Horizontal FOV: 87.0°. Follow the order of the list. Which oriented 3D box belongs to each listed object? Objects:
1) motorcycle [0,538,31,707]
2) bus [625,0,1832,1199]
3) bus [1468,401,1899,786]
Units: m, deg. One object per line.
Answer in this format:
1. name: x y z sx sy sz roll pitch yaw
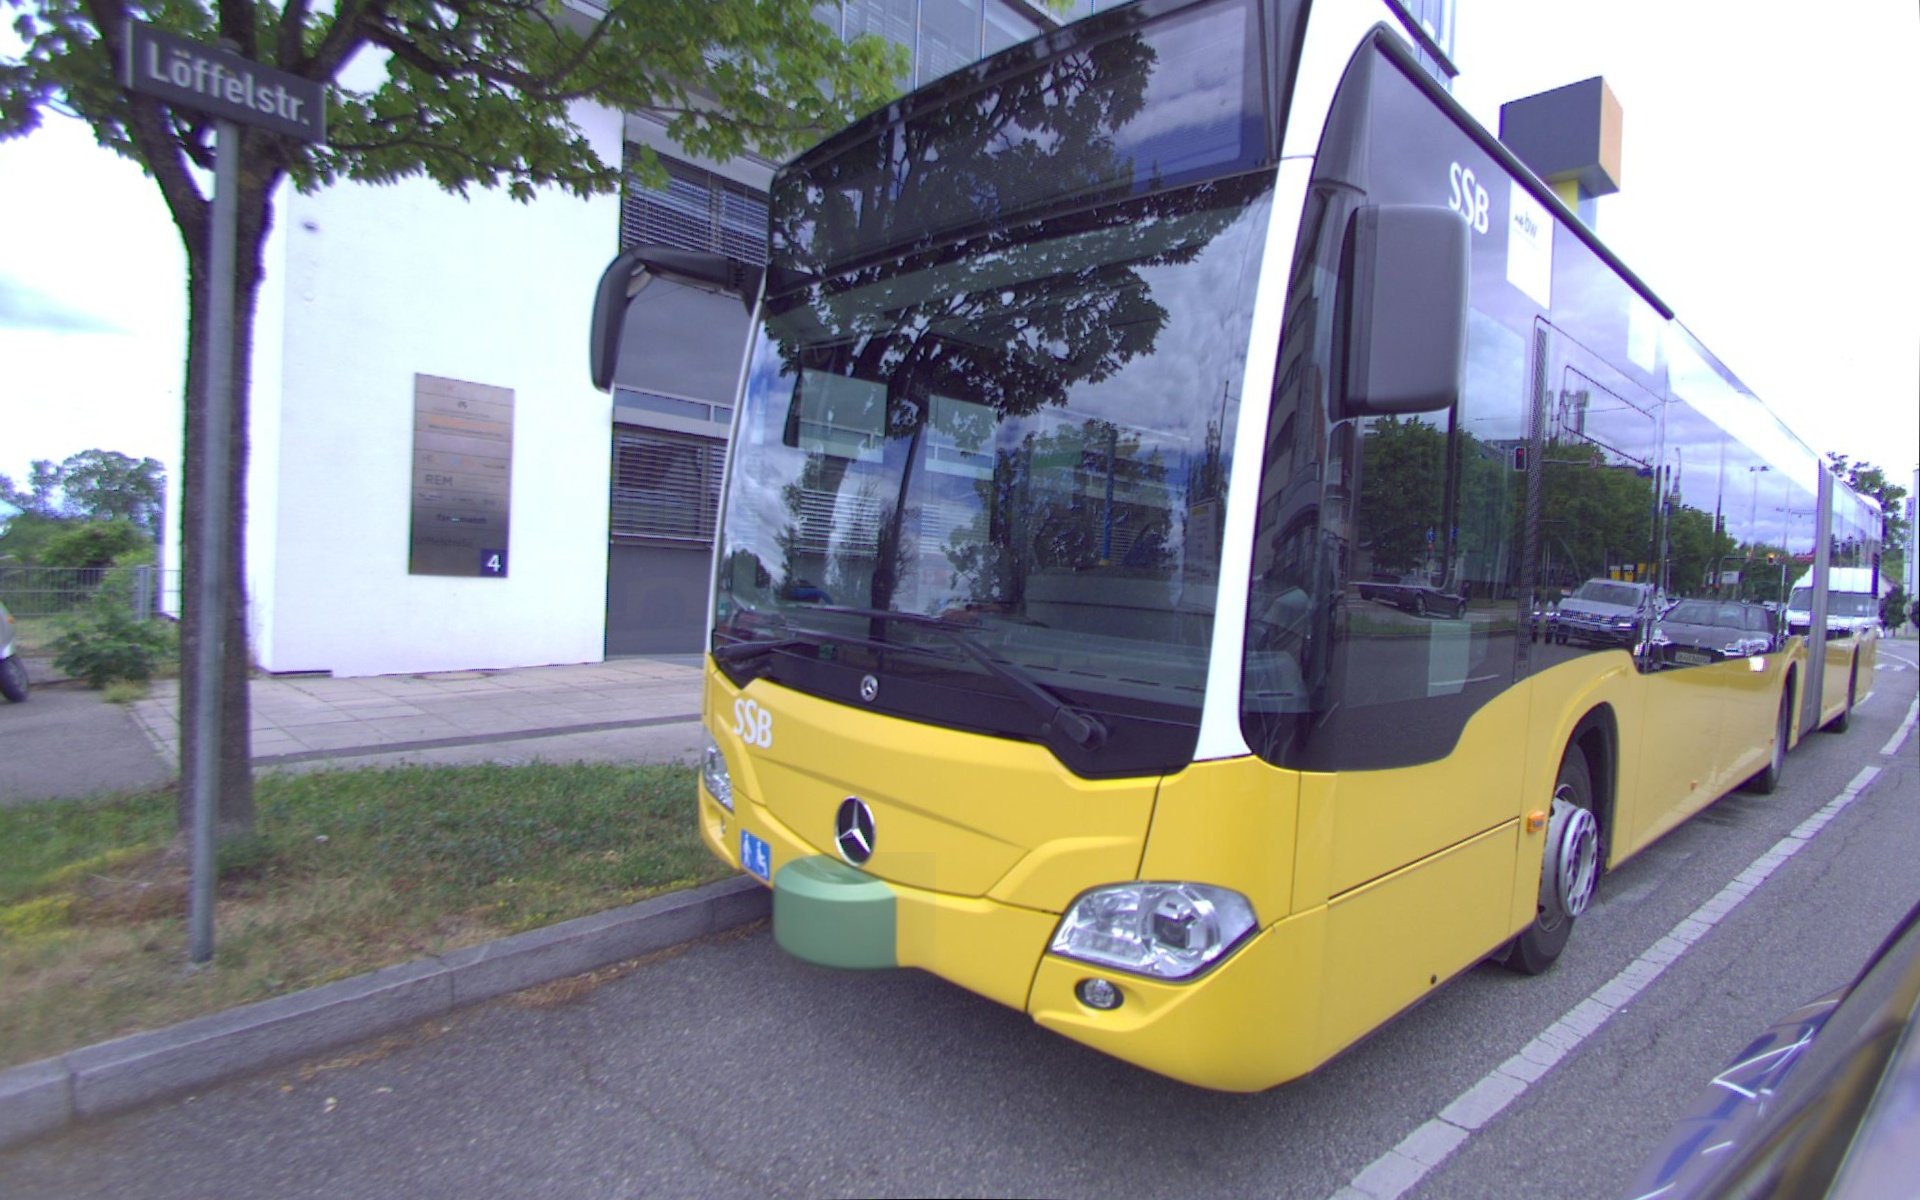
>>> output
1. motorcycle: -7.450 0.173 6.907 0.576 1.237 1.574 1 2 15
2. bus: 2.890 -0.233 6.069 8.977 3.202 2.715 1 3 -45
3. bus: 9.236 -0.074 12.298 8.723 3.147 2.715 1 2 -44
